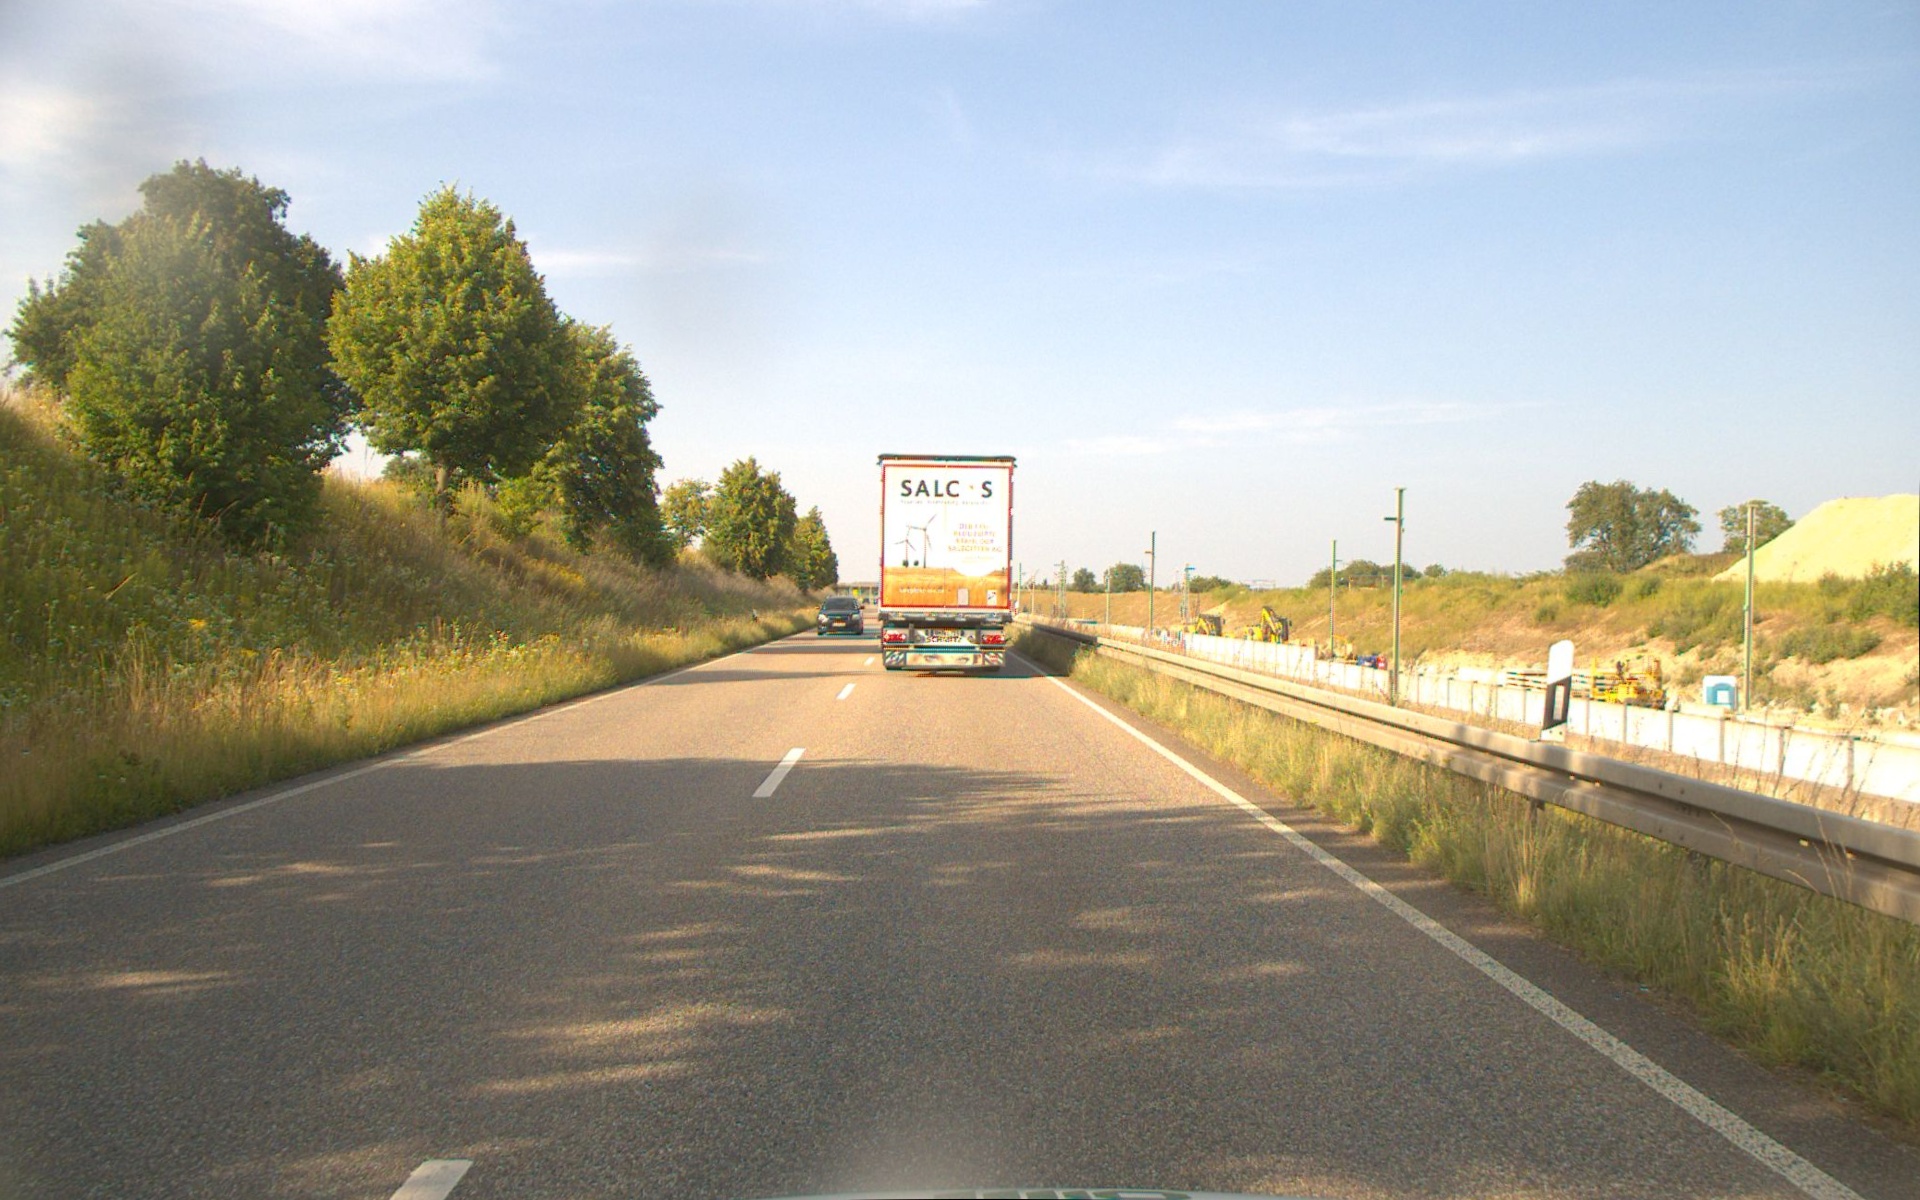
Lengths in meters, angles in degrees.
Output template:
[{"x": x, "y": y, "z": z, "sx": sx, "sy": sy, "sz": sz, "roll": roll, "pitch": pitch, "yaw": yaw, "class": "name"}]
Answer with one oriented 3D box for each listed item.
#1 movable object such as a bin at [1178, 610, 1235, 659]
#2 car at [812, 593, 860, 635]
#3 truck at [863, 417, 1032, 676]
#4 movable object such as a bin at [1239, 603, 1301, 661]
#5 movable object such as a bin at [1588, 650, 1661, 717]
[{"x": 17.806, "y": 2.431, "z": 120.013, "sx": 2.569, "sy": 3.296, "sz": 8.069, "roll": 1, "pitch": 0, "yaw": -2, "class": "movable object such as a bin"}, {"x": -4.840, "y": 0.529, "z": 64.977, "sx": 1.708, "sy": 1.574, "sz": 4.310, "roll": 0, "pitch": 0, "yaw": -2, "class": "car"}, {"x": -0.313, "y": -0.994, "z": 34.770, "sx": 3.089, "sy": 4.770, "sz": 8.439, "roll": 0, "pitch": 0, "yaw": -1, "class": "truck"}, {"x": 22.239, "y": 2.263, "z": 118.972, "sx": 2.740, "sy": 3.954, "sz": 7.534, "roll": 1, "pitch": 0, "yaw": -2, "class": "movable object such as a bin"}, {"x": 28.717, "y": 3.563, "z": 71.473, "sx": 2.845, "sy": 2.708, "sz": 2.019, "roll": 1, "pitch": 0, "yaw": 24, "class": "movable object such as a bin"}]
